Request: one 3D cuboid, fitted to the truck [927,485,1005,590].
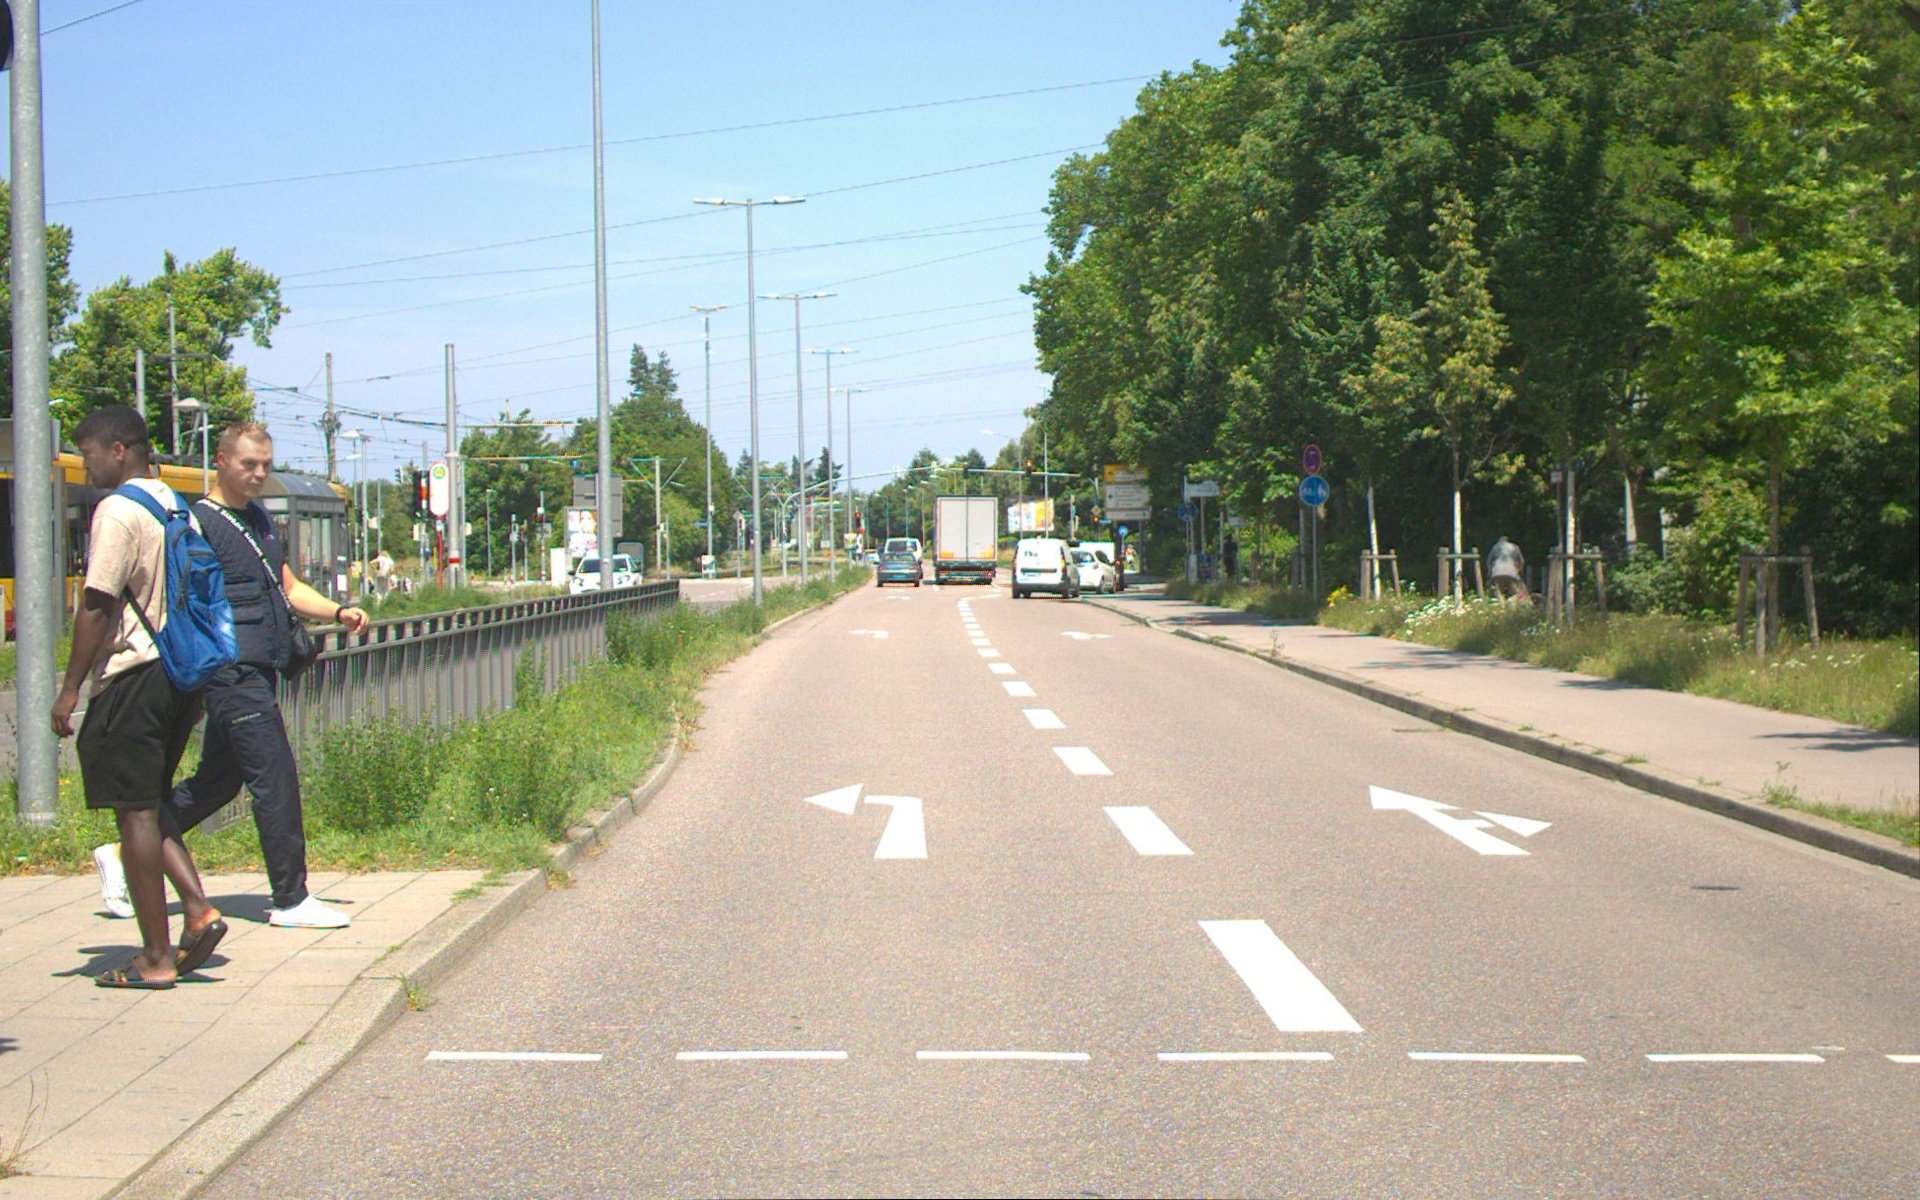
[{"bbox_3d":[0.223,-2.671,146.125,3.205,4.344,6.561,0,1,-1],"label":"truck"}]

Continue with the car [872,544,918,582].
[{"bbox_3d":[-2.585,-1.492,137.500,1.811,1.459,4.000,0,1,-1],"label":"car"}]

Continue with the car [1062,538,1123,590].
[{"bbox_3d":[4.304,-1.181,112.460,1.779,1.663,4.000,0,1,-1],"label":"car"}]

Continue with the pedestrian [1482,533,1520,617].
[{"bbox_3d":[9.257,-0.429,58.859,0.604,1.433,0.556,0,1,7],"label":"pedestrian"}]

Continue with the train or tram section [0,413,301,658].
[{"bbox_3d":[-16.313,-1.132,61.159,2.931,3.776,33.089,0,1,0],"label":"train or tram section"}]

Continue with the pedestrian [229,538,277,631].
[{"bbox_3d":[-14.256,-0.320,69.320,0.785,1.862,0.817,0,1,-1],"label":"pedestrian"}]

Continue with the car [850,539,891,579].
[{"bbox_3d":[-4.539,-2.120,175.181,1.993,2.007,4.000,0,1,-1],"label":"car"}]

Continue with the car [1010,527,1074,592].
[{"bbox_3d":[2.443,-1.231,103.521,1.779,1.897,4.000,0,1,-1],"label":"car"}]

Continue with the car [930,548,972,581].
[{"bbox_3d":[-0.421,-1.597,153.633,1.811,1.459,4.000,0,1,-1],"label":"car"}]

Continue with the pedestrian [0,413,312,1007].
[{"bbox_3d":[-2.490,0.314,10.636,0.840,1.771,0.720,1,3,-1],"label":"pedestrian"}]

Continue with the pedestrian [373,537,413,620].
[{"bbox_3d":[-13.760,-0.526,83.449,0.815,2.007,0.938,0,1,-1],"label":"pedestrian"}]

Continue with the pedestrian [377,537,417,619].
[{"bbox_3d":[-13.851,-0.540,84.627,0.815,2.007,0.938,0,1,-1],"label":"pedestrian"}]

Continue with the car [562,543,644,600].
[{"bbox_3d":[-9.613,-0.790,92.714,1.845,1.489,3.791,0,1,-1],"label":"car"}]

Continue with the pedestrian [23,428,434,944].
[{"bbox_3d":[-2.652,0.295,12.477,1.187,1.772,0.838,0,0,30],"label":"pedestrian"}]

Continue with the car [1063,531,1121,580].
[{"bbox_3d":[4.555,-1.547,118.803,1.779,1.663,4.000,0,1,-1],"label":"car"}]
